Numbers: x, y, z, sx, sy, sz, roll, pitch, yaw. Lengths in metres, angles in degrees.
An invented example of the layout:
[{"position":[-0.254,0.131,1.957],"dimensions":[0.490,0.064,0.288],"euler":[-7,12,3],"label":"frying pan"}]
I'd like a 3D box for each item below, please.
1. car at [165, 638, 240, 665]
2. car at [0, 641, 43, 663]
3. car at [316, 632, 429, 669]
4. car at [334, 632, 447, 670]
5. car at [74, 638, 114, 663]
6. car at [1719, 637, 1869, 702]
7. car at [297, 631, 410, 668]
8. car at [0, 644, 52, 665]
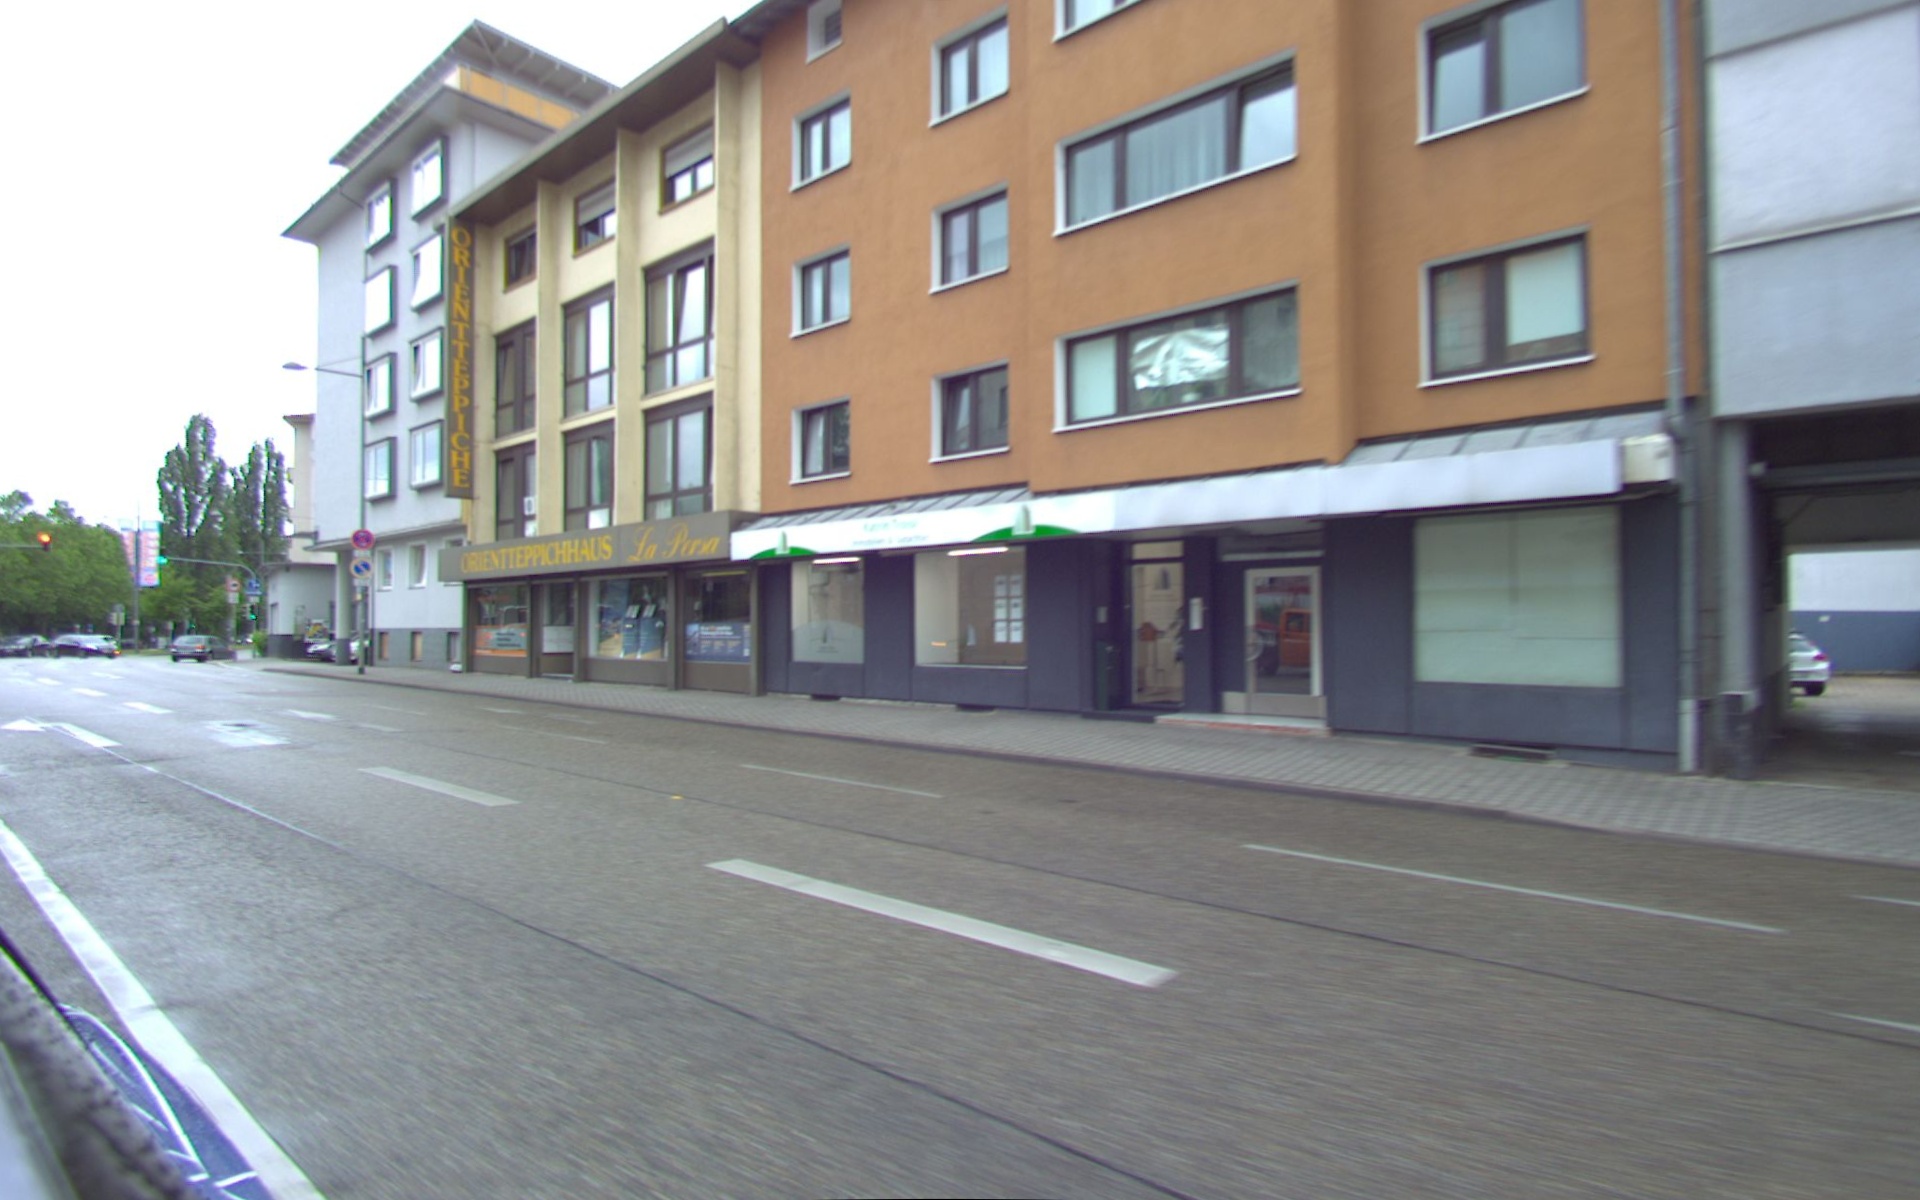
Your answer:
[{"position":[-40.788,2.780,54.598],"dimensions":[1.705,1.377,4.120],"euler":[0,-3,-12],"label":"car"},{"position":[-91.319,5.029,96.900],"dimensions":[4.768,1.957,1.957],"euler":[-3,-1,-18],"label":"car"},{"position":[-24.593,2.133,42.450],"dimensions":[1.638,1.431,3.716],"euler":[-2,-5,42],"label":"car"},{"position":[-22.649,2.050,40.368],"dimensions":[1.494,1.348,3.586],"euler":[-1,-5,39],"label":"car"},{"position":[-53.194,3.066,62.128],"dimensions":[1.777,1.445,4.402],"euler":[0,-1,-42],"label":"car"},{"position":[20.556,1.660,25.132],"dimensions":[1.820,1.456,3.968],"euler":[0,-2,24],"label":"car"},{"position":[-26.300,2.153,43.969],"dimensions":[1.797,1.431,3.771],"euler":[0,-4,42],"label":"car"},{"position":[-71.381,4.148,76.923],"dimensions":[1.865,1.500,4.374],"euler":[2,-3,-18],"label":"car"}]
